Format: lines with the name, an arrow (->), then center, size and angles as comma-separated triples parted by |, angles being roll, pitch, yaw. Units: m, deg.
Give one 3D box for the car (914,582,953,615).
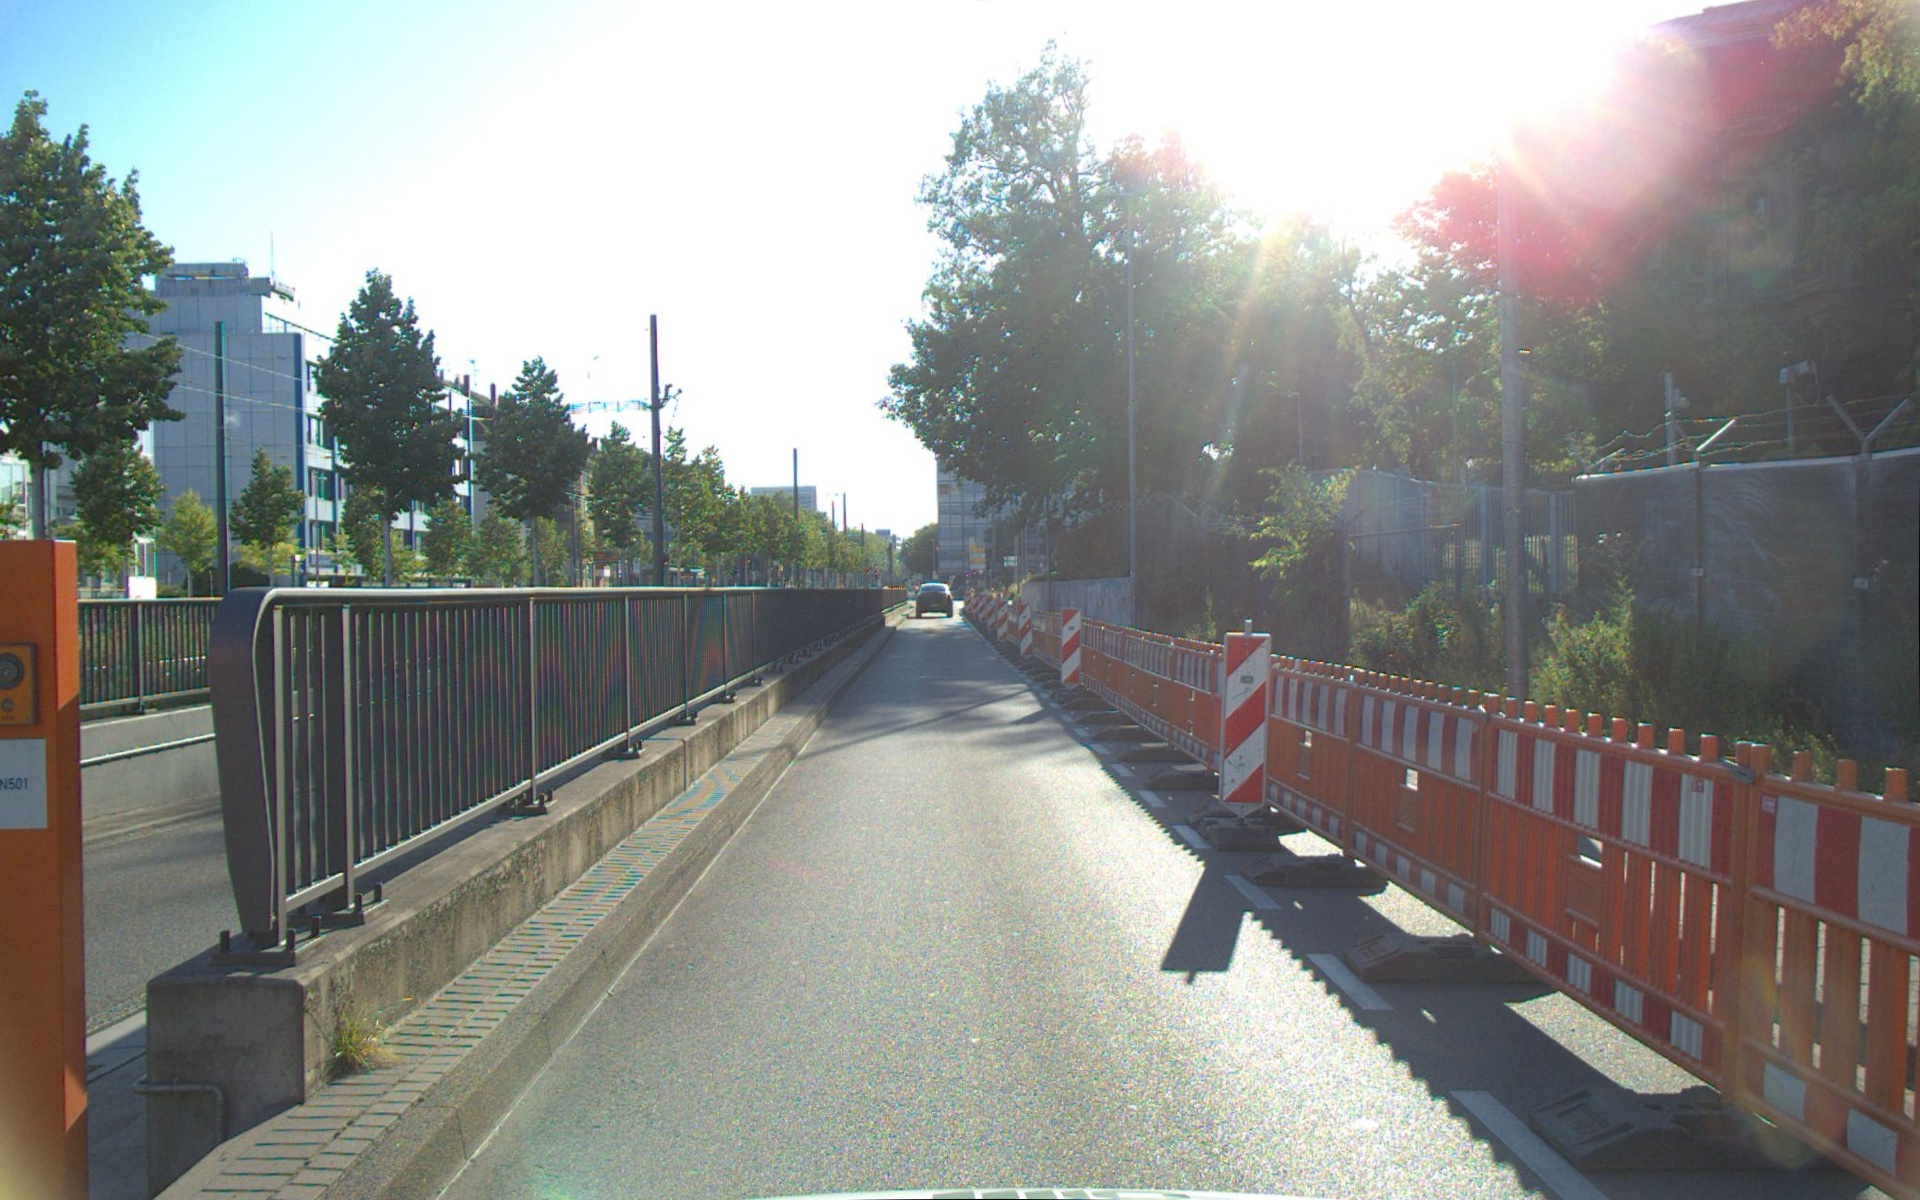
car -> -1.368, -0.094, 87.432 | 1.964, 1.688, 4.000 | 1, 0, 0
